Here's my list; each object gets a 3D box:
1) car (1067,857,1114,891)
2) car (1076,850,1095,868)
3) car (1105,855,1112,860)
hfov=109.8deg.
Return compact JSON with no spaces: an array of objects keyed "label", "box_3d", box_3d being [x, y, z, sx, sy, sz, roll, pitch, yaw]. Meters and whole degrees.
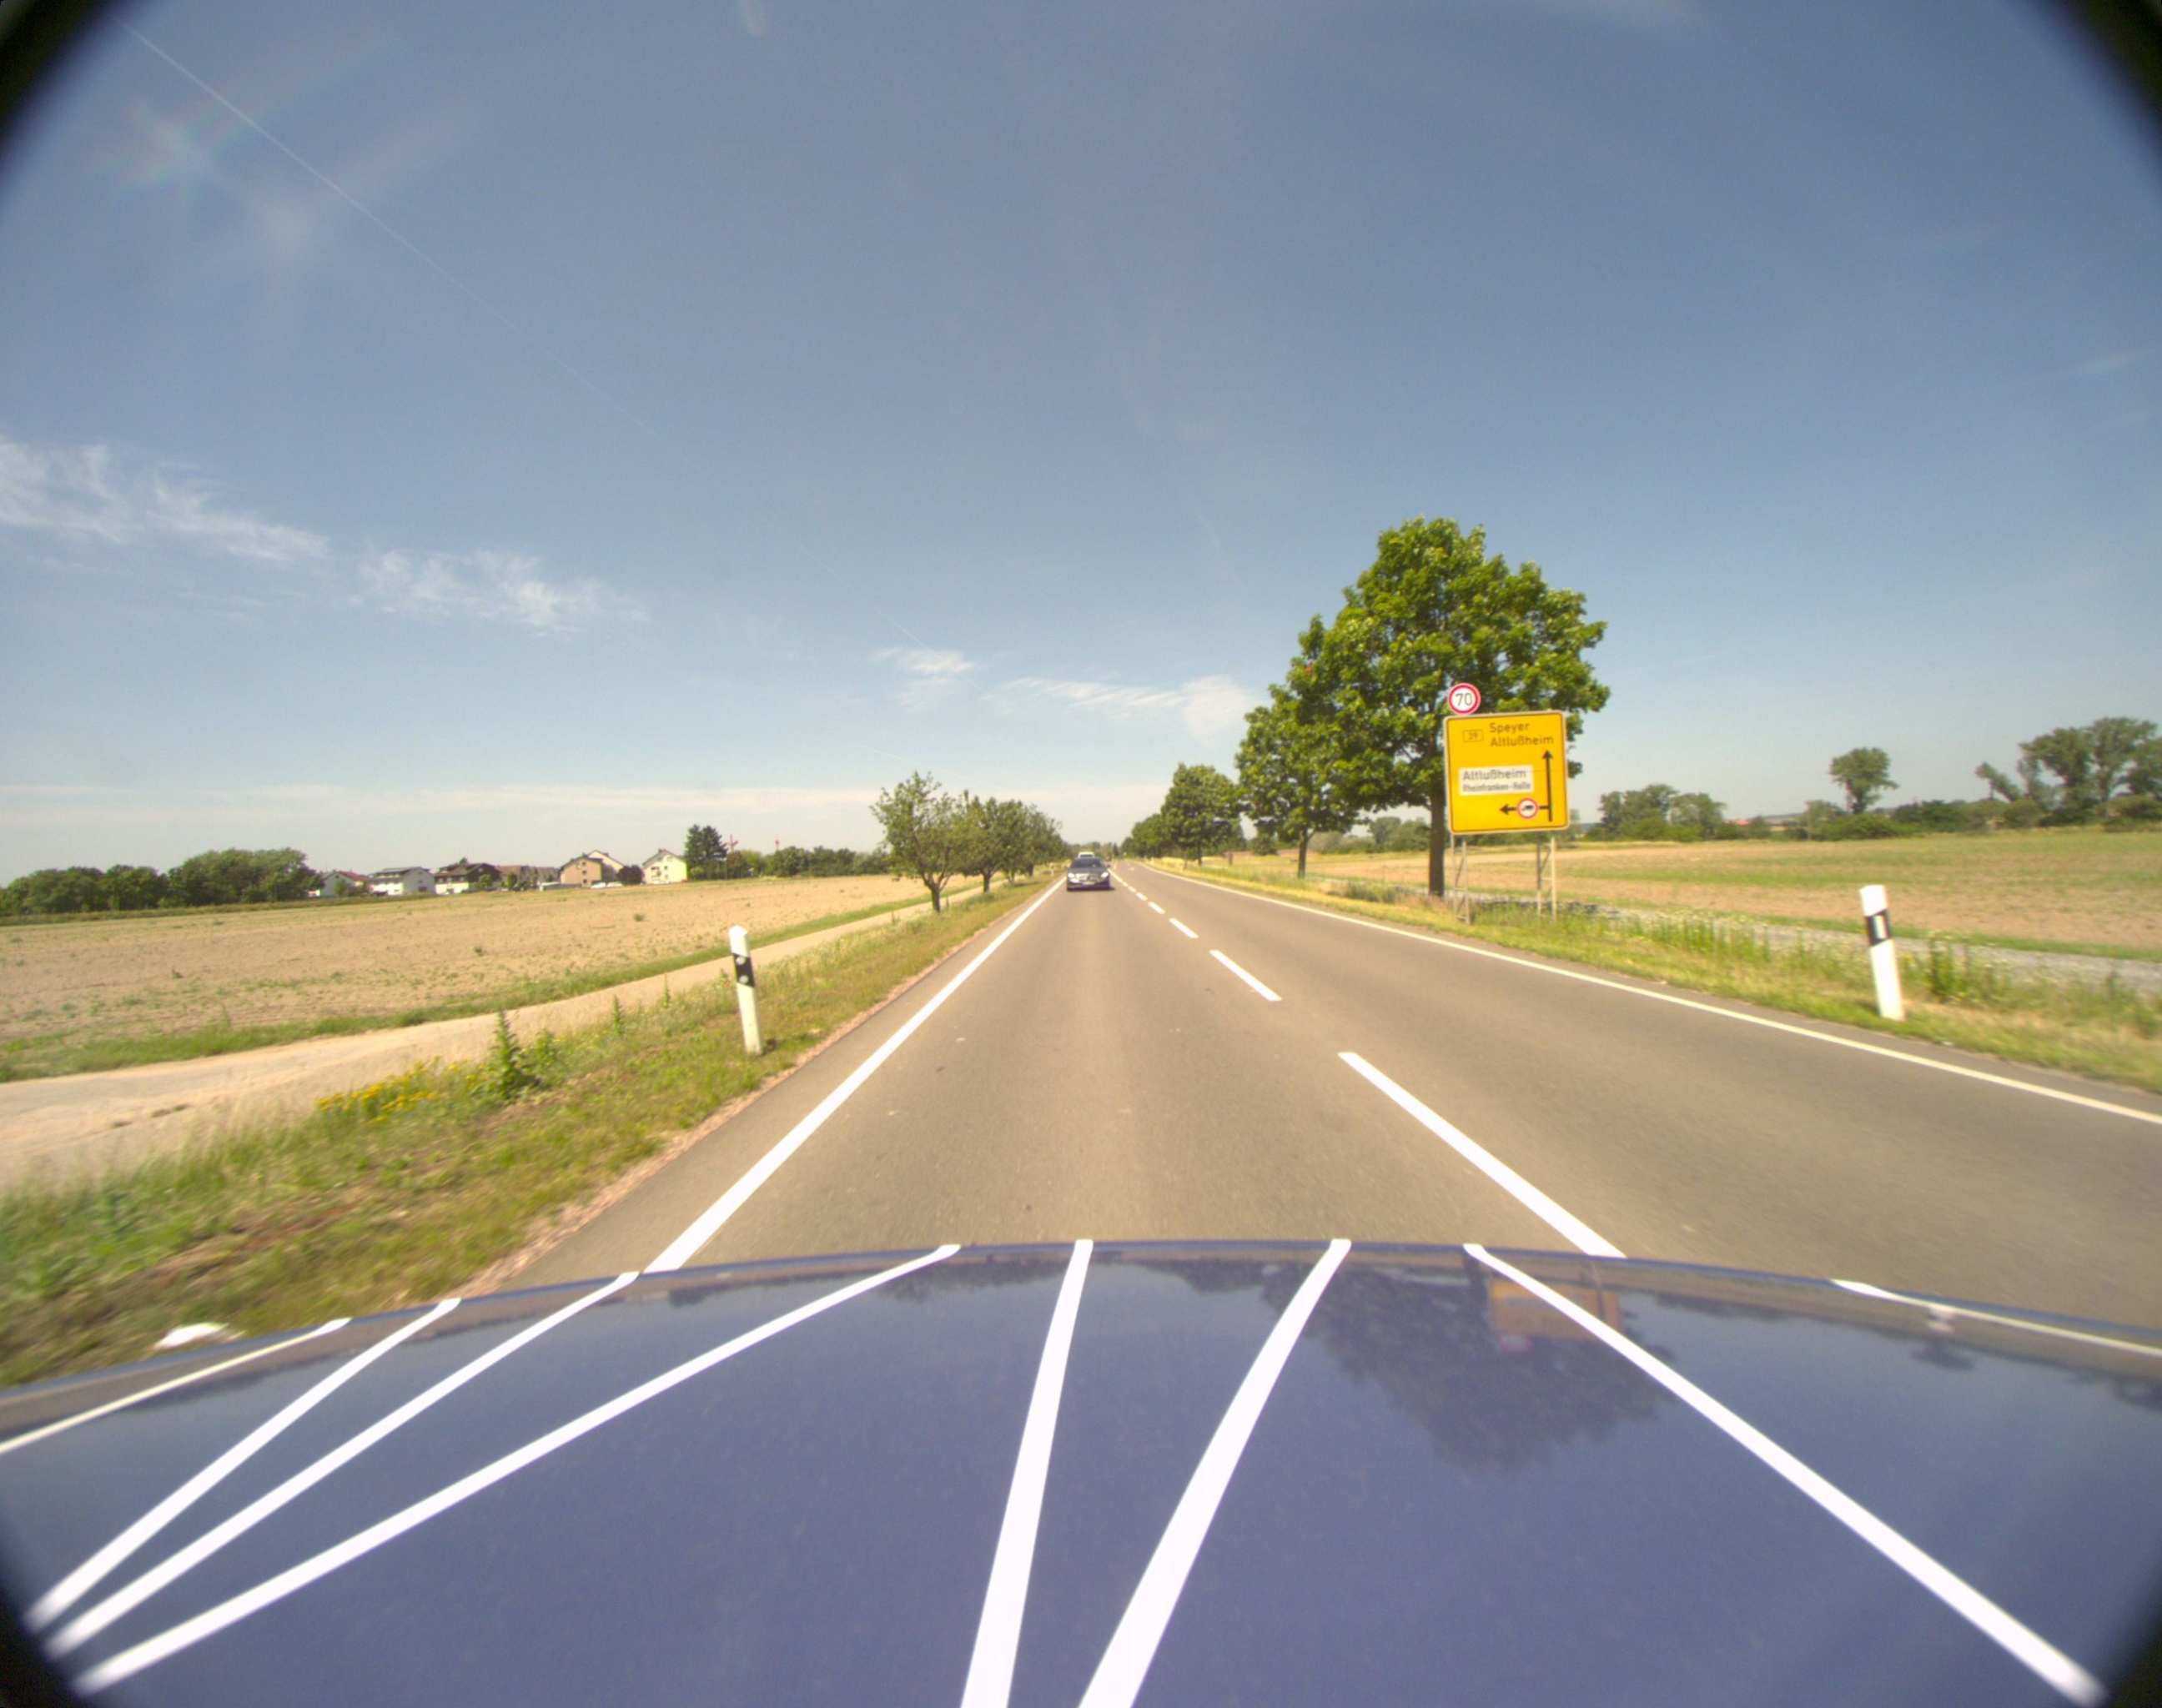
[{"label":"car","box_3d":[0.381,0.859,33.965,1.954,1.390,3.999,-1,0,0]},{"label":"car","box_3d":[0.497,0.541,84.062,1.998,1.907,4.206,-3,0,1]},{"label":"car","box_3d":[8.062,1.046,222.639,1.998,1.543,4.317,-3,0,2]}]
